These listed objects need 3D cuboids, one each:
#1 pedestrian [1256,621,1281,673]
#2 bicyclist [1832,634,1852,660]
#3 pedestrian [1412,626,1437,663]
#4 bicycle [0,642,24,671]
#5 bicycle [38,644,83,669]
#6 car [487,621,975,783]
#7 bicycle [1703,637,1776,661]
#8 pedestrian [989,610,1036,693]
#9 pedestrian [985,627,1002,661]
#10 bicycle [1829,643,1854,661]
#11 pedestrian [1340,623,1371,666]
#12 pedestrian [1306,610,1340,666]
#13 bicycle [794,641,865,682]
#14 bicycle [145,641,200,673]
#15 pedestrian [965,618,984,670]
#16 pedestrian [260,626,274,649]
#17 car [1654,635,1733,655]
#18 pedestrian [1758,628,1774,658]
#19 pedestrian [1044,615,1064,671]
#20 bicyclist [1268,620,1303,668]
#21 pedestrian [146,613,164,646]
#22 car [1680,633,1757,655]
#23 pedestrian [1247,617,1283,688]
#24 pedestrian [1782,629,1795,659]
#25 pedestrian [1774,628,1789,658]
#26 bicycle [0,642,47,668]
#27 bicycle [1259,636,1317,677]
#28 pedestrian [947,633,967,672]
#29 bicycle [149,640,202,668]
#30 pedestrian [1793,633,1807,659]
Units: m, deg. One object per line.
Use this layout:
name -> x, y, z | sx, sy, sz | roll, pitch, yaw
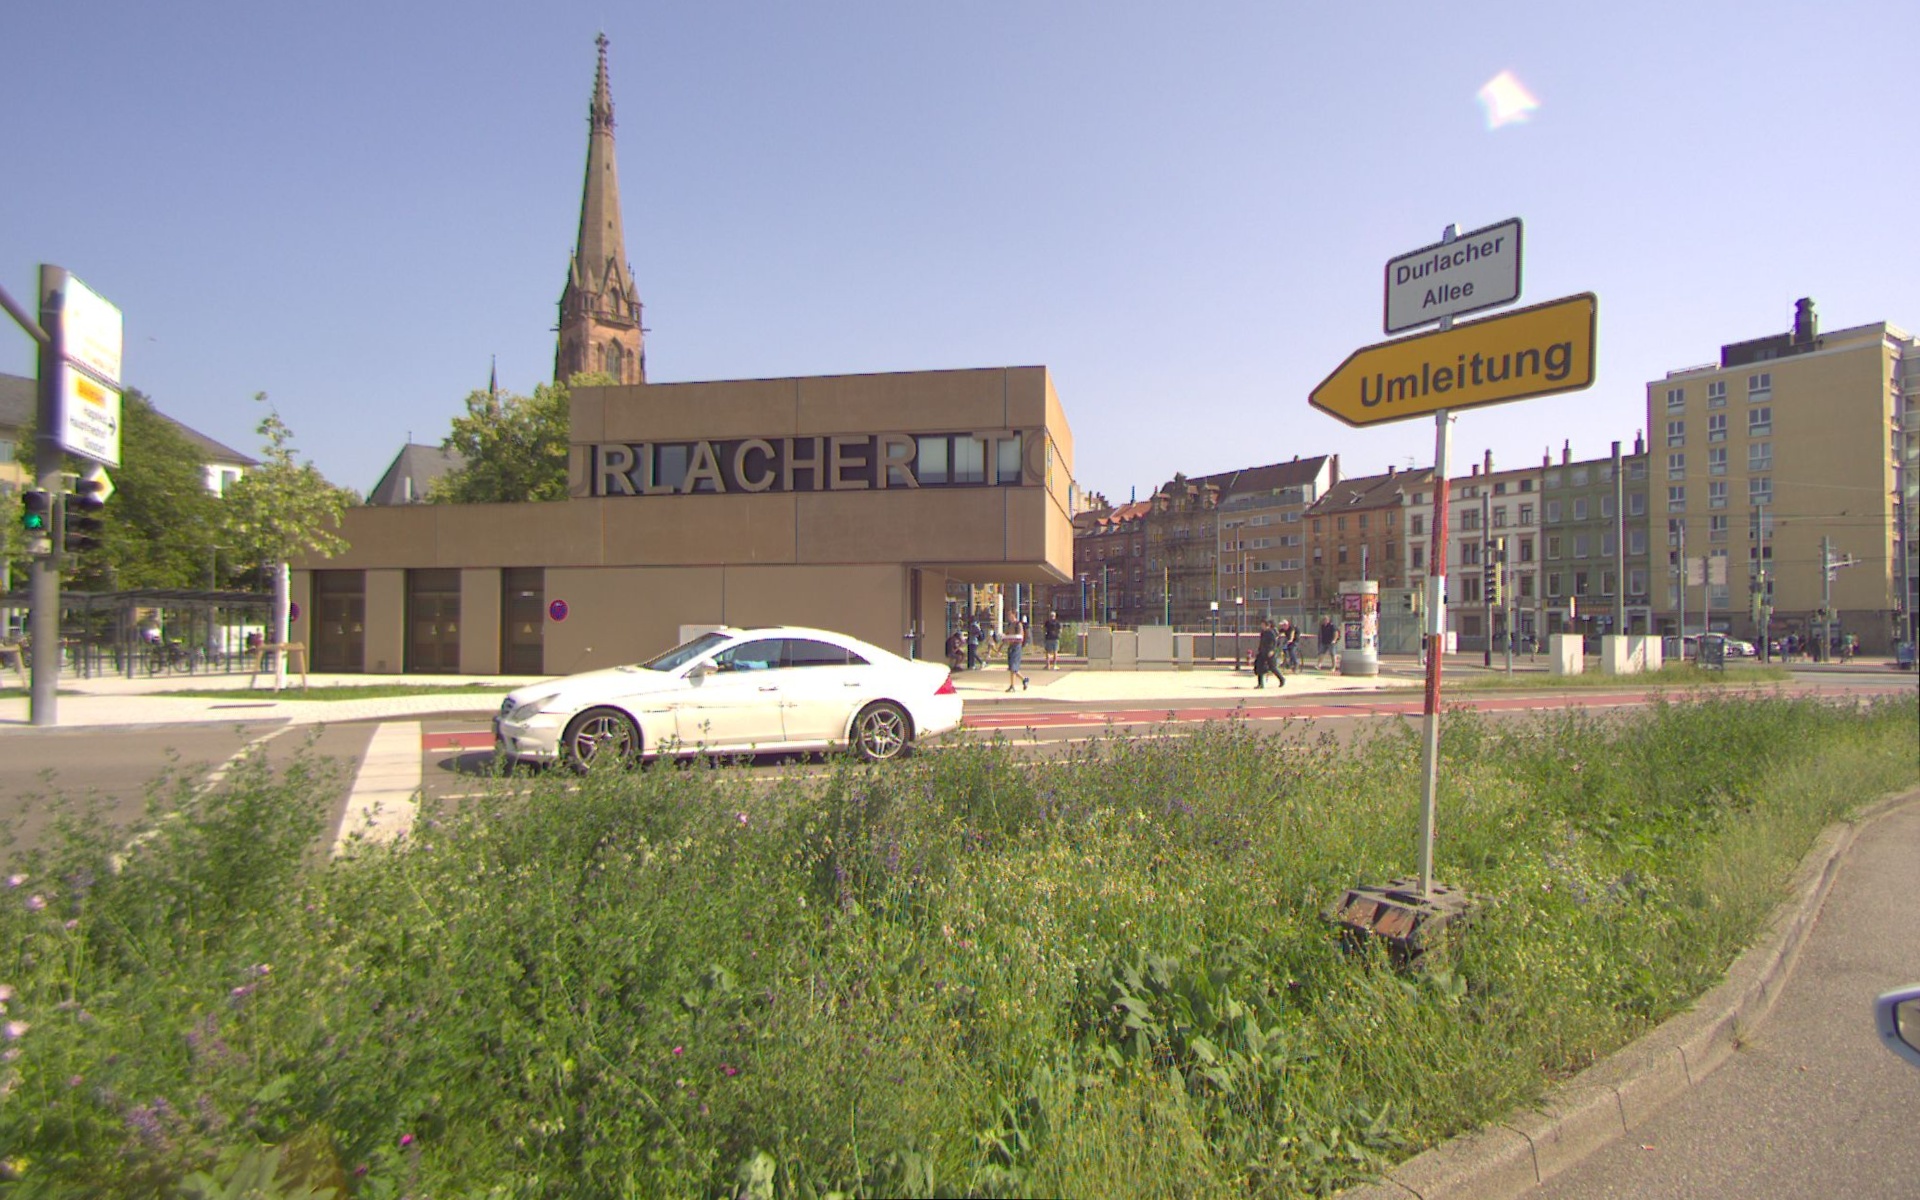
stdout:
pedestrian -> 9.747, 1.470, 31.733 | 0.500, 1.601, 0.497 | -2, 0, -18
bicyclist -> 49.326, 2.614, 56.167 | 0.683, 1.453, 0.720 | 1, -2, -37
pedestrian -> 23.271, 2.232, 50.314 | 0.770, 1.843, 0.828 | 3, -2, -33
bicycle -> -33.878, 1.970, 35.305 | 1.679, 1.000, 0.534 | 0, -2, 12
bicycle -> -33.776, 2.113, 37.705 | 1.556, 0.904, 0.410 | 0, -2, 12
car -> -2.376, 0.983, 10.688 | 4.757, 1.379, 1.835 | 2, -1, -27
bicycle -> 55.878, 3.516, 72.063 | 1.183, 1.572, 3.963 | -2, 0, -34
pedestrian -> 1.169, 1.121, 22.170 | 0.668, 1.783, 0.875 | 0, -1, 36
pedestrian -> 1.589, 2.097, 47.857 | 0.782, 1.612, 0.692 | 0, -1, -3
bicycle -> 49.311, 2.905, 56.158 | 1.716, 0.997, 0.722 | 2, -2, -37
pedestrian -> 19.499, 2.177, 49.565 | 1.010, 2.040, 0.953 | -2, 0, -32
pedestrian -> 12.385, 1.298, 34.253 | 0.866, 1.843, 0.894 | -2, 0, 32
bicycle -> -3.164, 1.489, 24.436 | 1.580, 0.968, 0.661 | 0, 0, 10
bicycle -> -25.477, 1.826, 32.503 | 1.710, 1.022, 0.401 | 0, -2, 12
pedestrian -> 0.494, 1.495, 33.979 | 0.595, 1.718, 0.533 | -2, 0, 1
pedestrian -> -36.921, 1.998, 53.514 | 0.375, 1.240, 0.440 | -2, 0, 13
car -> 47.272, 2.892, 64.796 | 1.557, 1.195, 3.813 | 4, -3, -29
pedestrian -> 46.610, 2.495, 58.111 | 0.537, 1.707, 0.455 | -2, 0, -8
pedestrian -> 3.155, 1.431, 33.830 | 0.547, 1.843, 0.392 | -2, 0, -7
bicyclist -> 9.725, 1.303, 29.996 | 0.872, 1.380, 0.560 | -2, 2, -29
pedestrian -> -42.727, 1.572, 53.314 | 0.384, 1.771, 0.713 | -2, -2, 44
car -> 49.931, 2.895, 66.193 | 1.569, 1.411, 3.717 | 1, -2, -32
pedestrian -> 8.032, 1.378, 26.478 | 0.831, 1.802, 0.877 | -2, 0, 15
pedestrian -> 48.266, 2.568, 58.518 | 0.447, 1.707, 0.440 | -2, 0, 19
pedestrian -> 47.291, 2.490, 57.836 | 0.539, 1.707, 0.454 | -2, 0, -21
bicycle -> -33.974, 1.989, 36.448 | 1.556, 0.904, 0.410 | 0, -2, 12
bicycle -> 9.815, 1.674, 30.051 | 1.828, 1.078, 0.559 | -2, 1, -29
pedestrian -> -0.088, 1.596, 30.799 | 0.513, 1.187, 0.596 | 0, -2, 10
bicycle -> -28.824, 1.986, 36.904 | 1.837, 1.022, 0.462 | 0, -2, 12
pedestrian -> 48.748, 2.665, 58.283 | 0.489, 1.507, 0.440 | -2, 0, 19
